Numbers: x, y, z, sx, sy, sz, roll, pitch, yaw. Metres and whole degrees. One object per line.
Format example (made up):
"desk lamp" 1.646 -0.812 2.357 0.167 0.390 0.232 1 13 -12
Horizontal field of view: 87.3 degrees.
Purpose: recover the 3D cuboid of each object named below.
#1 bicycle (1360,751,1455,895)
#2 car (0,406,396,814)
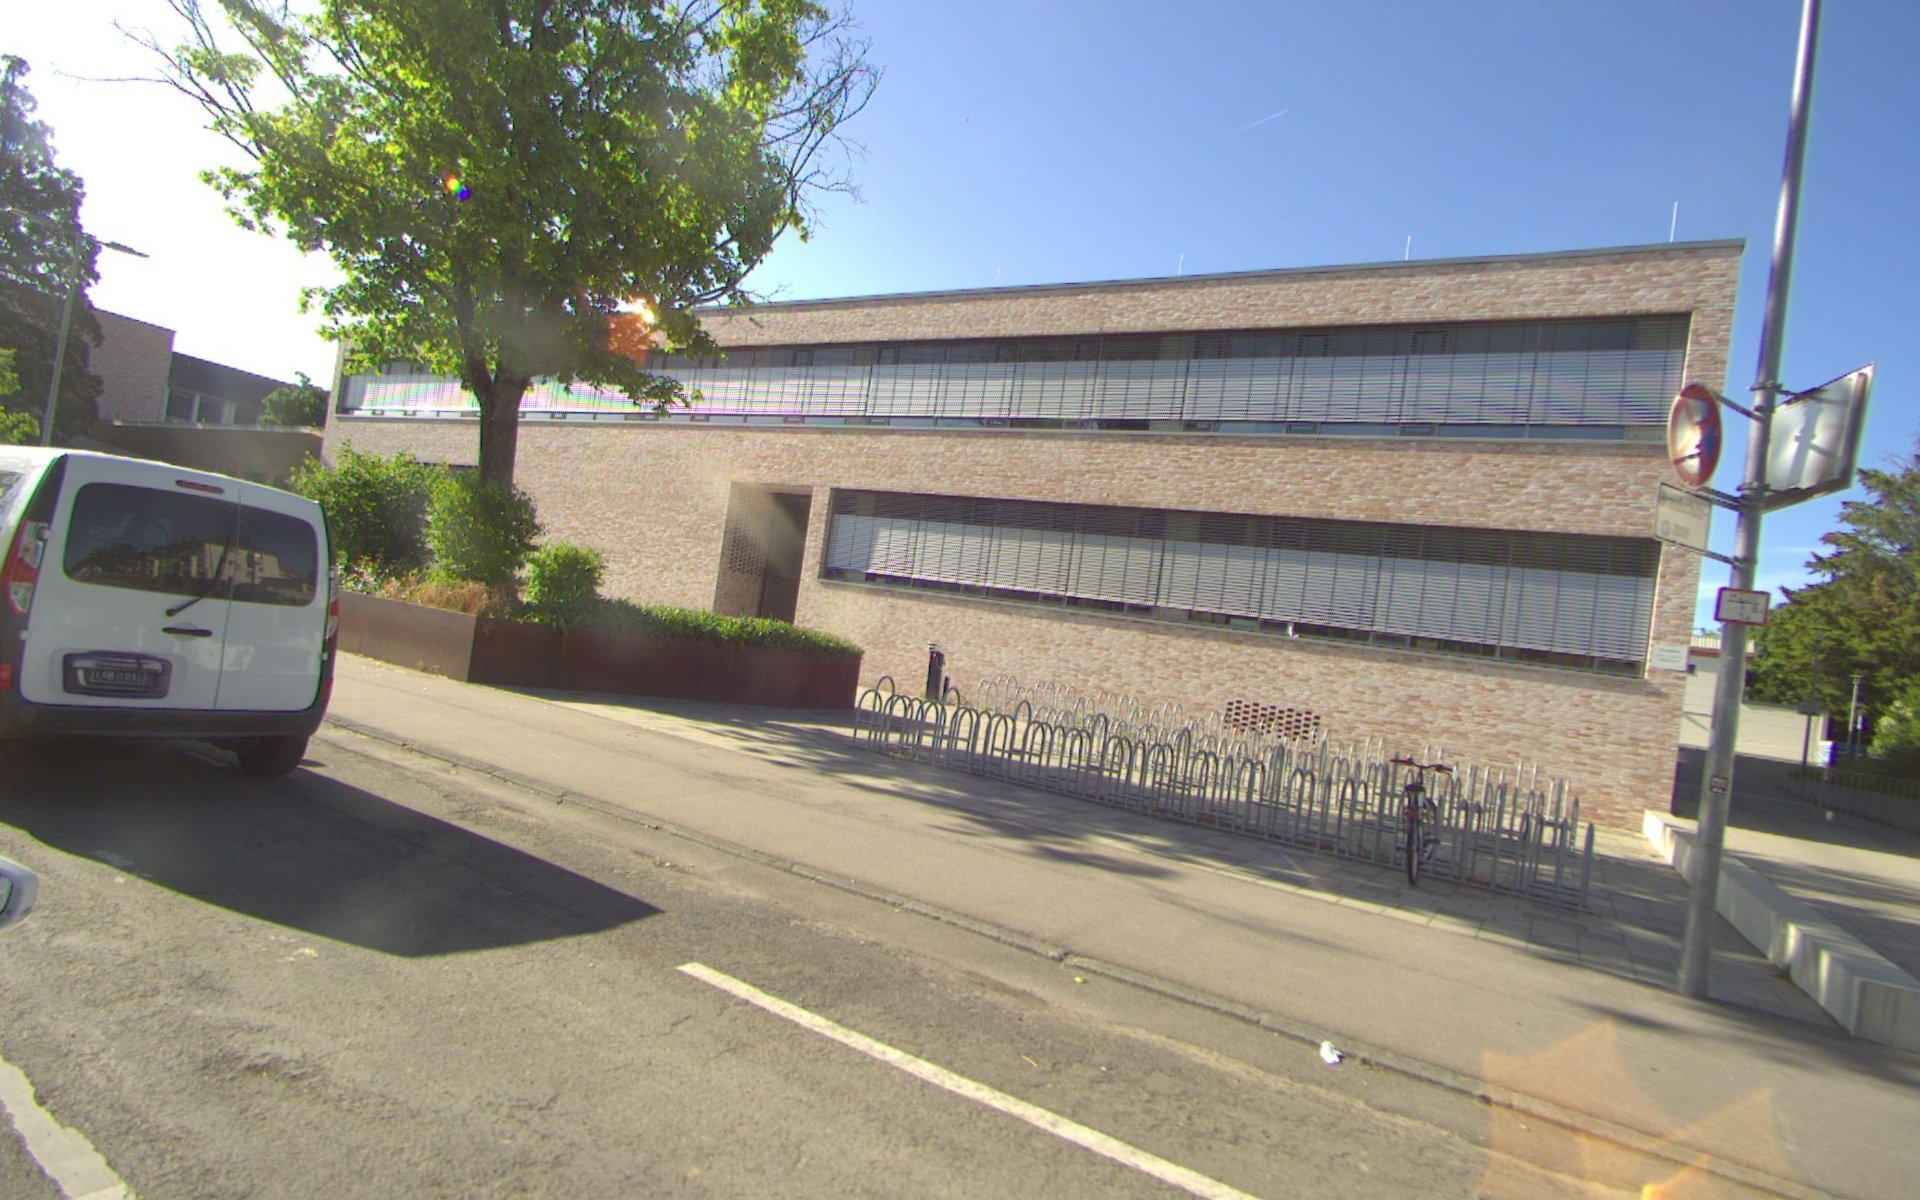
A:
"bicycle" 3.895 1.868 8.688 0.491 1.040 1.674 7 -4 30
"car" -5.971 -0.071 6.593 4.386 1.929 1.813 7 -3 31
